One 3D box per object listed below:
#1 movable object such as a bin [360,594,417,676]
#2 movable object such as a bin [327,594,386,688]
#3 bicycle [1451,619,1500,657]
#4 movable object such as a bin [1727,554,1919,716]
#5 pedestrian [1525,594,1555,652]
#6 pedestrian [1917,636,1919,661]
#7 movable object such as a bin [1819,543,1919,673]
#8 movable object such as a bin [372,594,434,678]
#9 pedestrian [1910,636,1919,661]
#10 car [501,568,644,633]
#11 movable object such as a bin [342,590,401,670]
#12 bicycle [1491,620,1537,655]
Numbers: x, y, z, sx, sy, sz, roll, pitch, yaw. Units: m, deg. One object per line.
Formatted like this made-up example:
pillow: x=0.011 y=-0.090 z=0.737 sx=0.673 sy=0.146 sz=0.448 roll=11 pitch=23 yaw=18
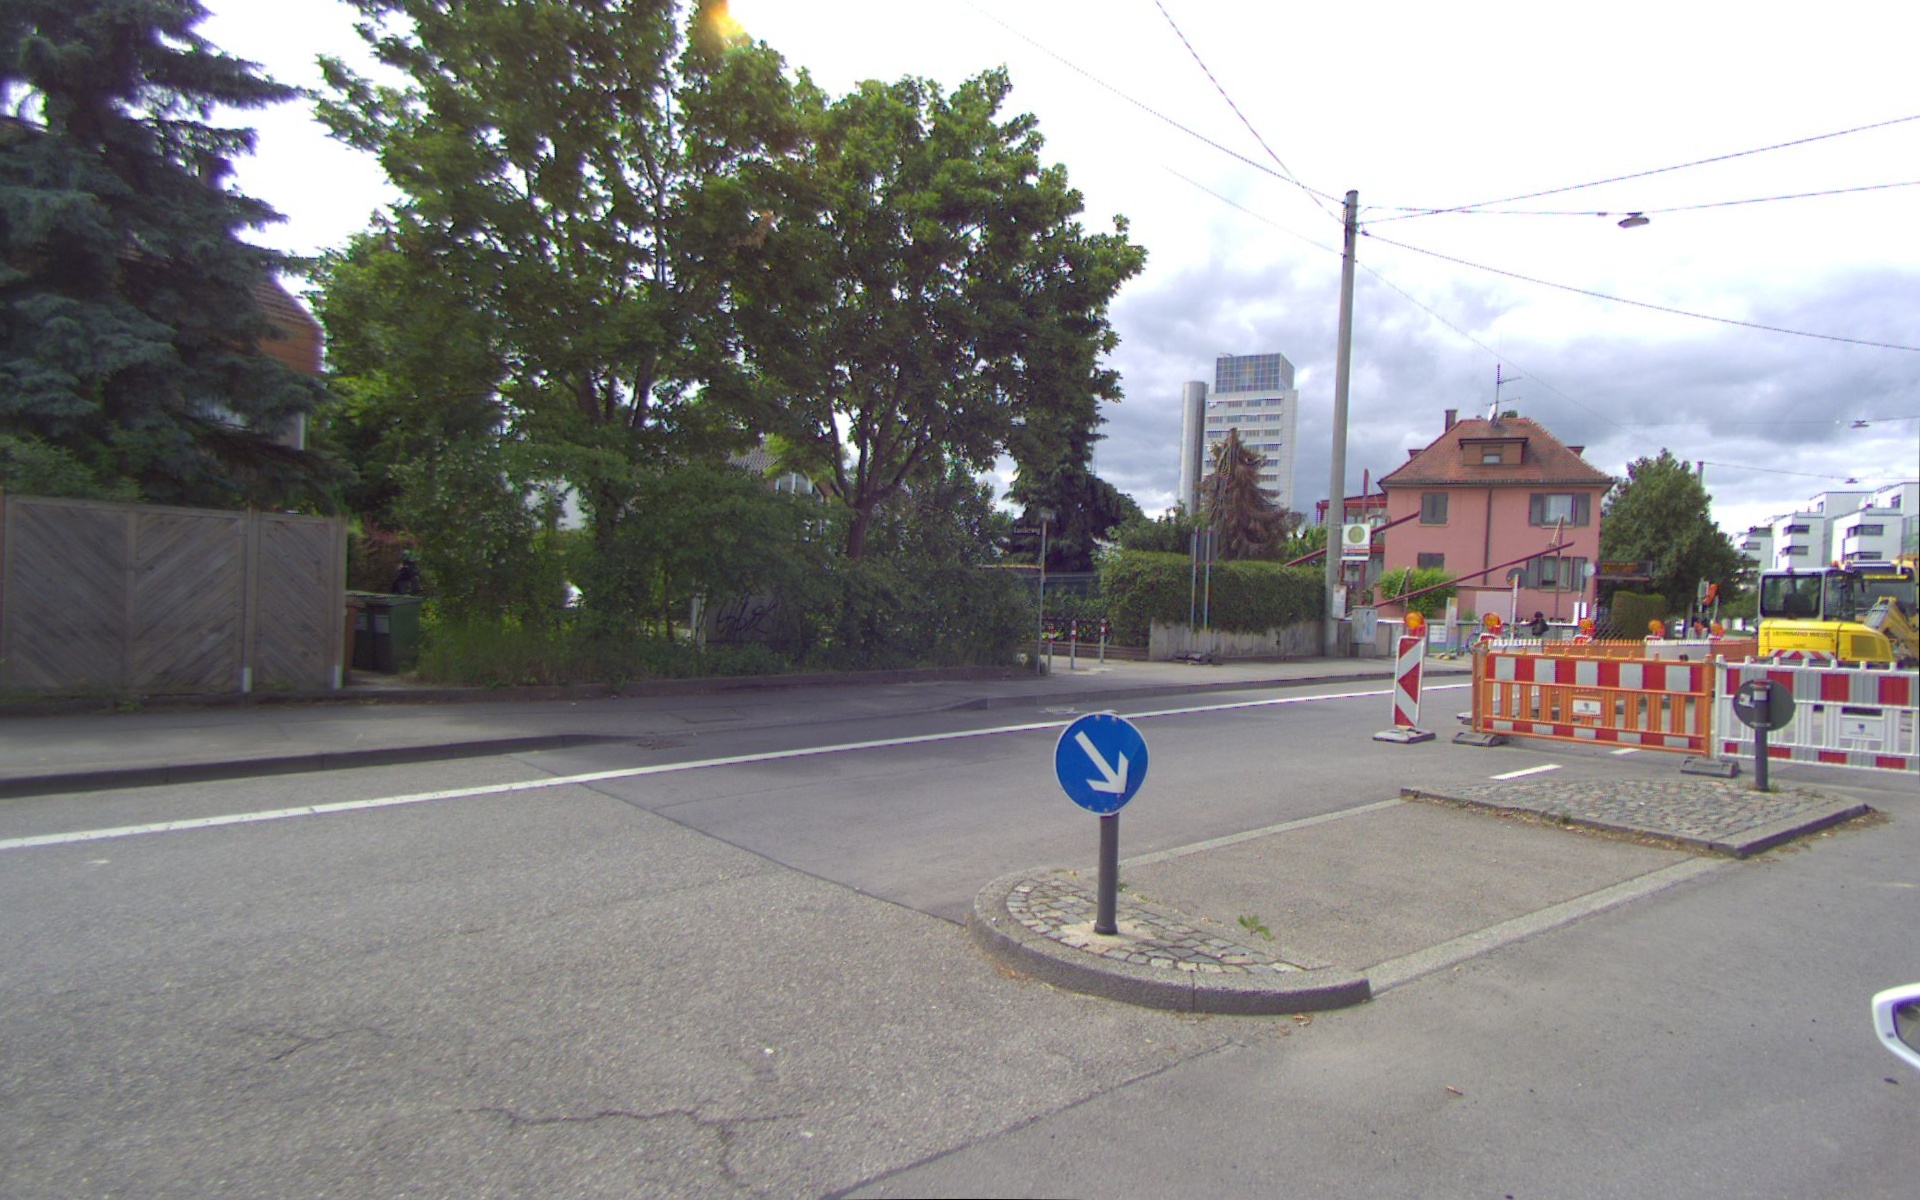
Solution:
movable object such as a bin: x=-7.121 y=0.429 z=12.524 sx=0.329 sy=0.991 sz=0.524 roll=2 pitch=0 yaw=38
movable object such as a bin: x=-6.770 y=0.452 z=11.261 sx=0.491 sy=1.024 sz=0.472 roll=1 pitch=0 yaw=-39
bicycle: x=15.905 y=1.166 z=30.970 sx=2.113 sy=1.097 sz=0.534 roll=2 pitch=0 yaw=-39
movable object such as a bin: x=17.195 y=0.642 z=19.085 sx=6.450 sy=2.660 sz=1.983 roll=2 pitch=0 yaw=-32
pedestrian: x=19.491 y=0.763 z=33.767 sx=0.581 sy=1.911 sz=0.673 roll=1 pitch=0 yaw=-41
pedestrian: x=39.529 y=1.998 z=40.797 sx=0.803 sy=1.004 sz=0.786 roll=1 pitch=0 yaw=-32
movable object such as a bin: x=34.503 y=0.353 z=37.849 sx=2.564 sy=4.277 sz=11.054 roll=2 pitch=0 yaw=44
movable object such as a bin: x=-6.821 y=0.437 z=12.302 sx=0.366 sy=0.991 sz=0.545 roll=2 pitch=0 yaw=38
pedestrian: x=40.117 y=2.017 z=41.745 sx=0.781 sy=1.004 sz=0.639 roll=1 pitch=0 yaw=-22
car: x=-10.100 y=-0.001 z=26.062 sx=3.942 sy=1.554 sz=1.881 roll=1 pitch=0 yaw=42
movable object such as a bin: x=-7.453 y=0.372 z=12.727 sx=0.372 sy=0.991 sz=0.524 roll=2 pitch=0 yaw=38
bicycle: x=18.052 y=1.229 z=32.715 sx=2.113 sy=1.097 sz=0.534 roll=2 pitch=0 yaw=-39
